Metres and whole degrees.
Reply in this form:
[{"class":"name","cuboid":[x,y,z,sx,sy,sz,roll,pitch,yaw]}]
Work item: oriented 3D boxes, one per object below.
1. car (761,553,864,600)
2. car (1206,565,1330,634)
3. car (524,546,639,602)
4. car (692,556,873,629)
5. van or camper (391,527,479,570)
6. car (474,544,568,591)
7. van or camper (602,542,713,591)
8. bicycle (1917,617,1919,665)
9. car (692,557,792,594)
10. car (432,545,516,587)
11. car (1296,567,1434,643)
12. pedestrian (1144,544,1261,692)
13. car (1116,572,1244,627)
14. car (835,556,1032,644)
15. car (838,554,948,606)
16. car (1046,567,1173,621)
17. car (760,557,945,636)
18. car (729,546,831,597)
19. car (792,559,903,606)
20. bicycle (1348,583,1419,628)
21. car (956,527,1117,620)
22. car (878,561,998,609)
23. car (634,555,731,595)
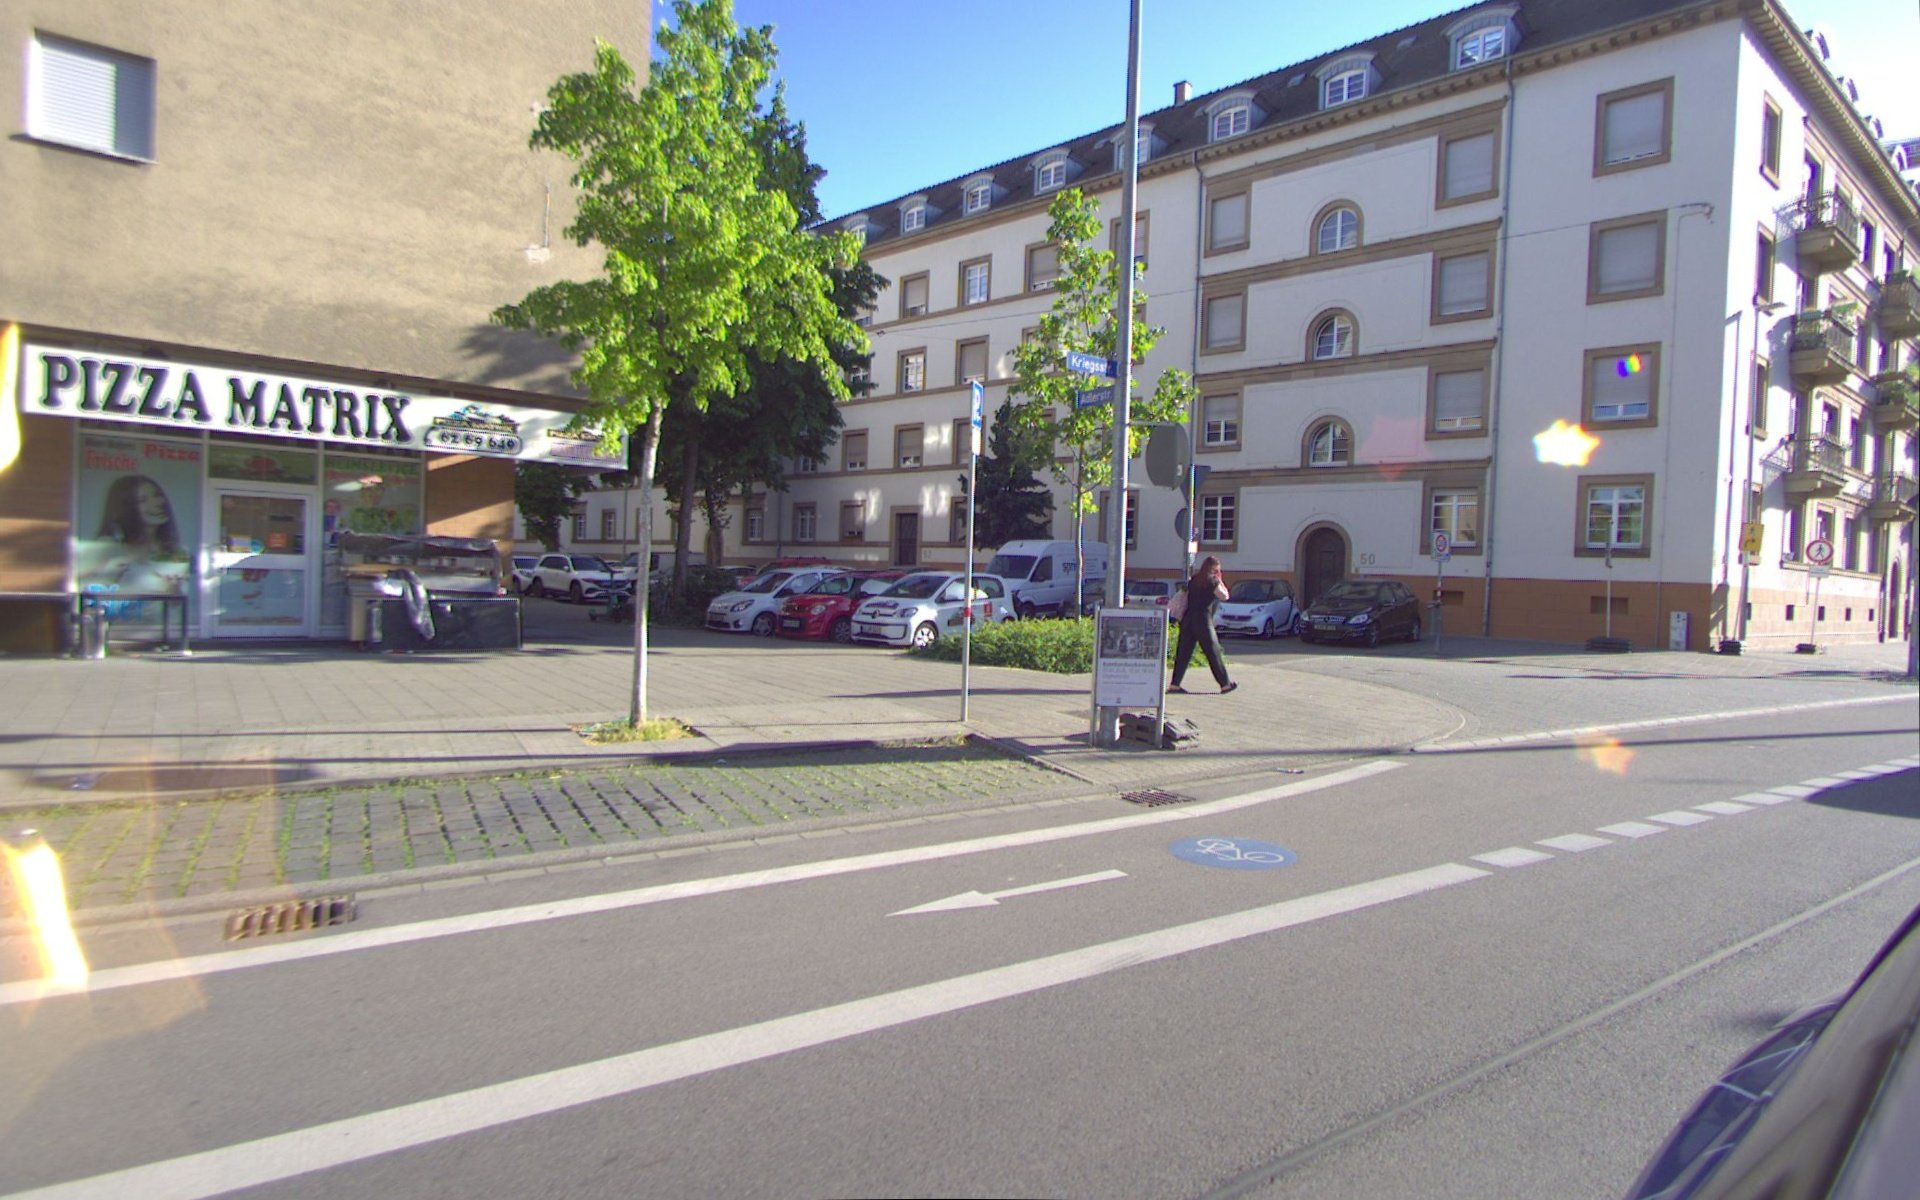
[{"class":"car","cuboid":[-5.783,-0.884,40.050,1.687,1.749,3.943,0,0,39]},{"class":"car","cuboid":[8.346,-0.080,27.173,1.621,1.707,4.377,2,3,39]},{"class":"car","cuboid":[-13.106,-0.932,34.911,4.385,1.719,1.969,4,2,43]},{"class":"car","cuboid":[-3.858,-0.139,22.373,1.633,1.473,3.673,0,0,45]},{"class":"van or camper","cuboid":[-34.581,-3.376,66.792,1.811,2.560,4.818,0,0,39]},{"class":"car","cuboid":[-16.566,-1.180,38.108,3.985,1.661,1.797,1,0,43]},{"class":"van or camper","cuboid":[-14.373,-1.547,48.276,1.814,2.124,4.809,0,0,44]},{"class":"bicycle","cuboid":[20.685,0.864,21.103,2.158,0.965,0.769,1,2,-39]},{"class":"car","cuboid":[-9.320,-1.021,43.430,1.691,1.454,3.935,0,0,44]},{"class":"car","cuboid":[-19.931,-1.367,41.473,3.985,1.609,1.765,1,0,43]},{"class":"car","cuboid":[10.128,0.051,25.151,1.692,1.707,4.370,0,2,44]},{"class":"pedestrian","cuboid":[3.047,0.205,12.795,1.082,1.784,0.889,1,3,-13]},{"class":"car","cuboid":[6.312,-0.045,28.716,1.690,1.447,4.375,1,1,41]},{"class":"car","cuboid":[-0.414,0.014,19.215,1.660,1.493,3.781,1,0,40]},{"class":"car","cuboid":[-2.353,-0.672,36.229,1.539,1.761,3.936,0,0,44]},{"class":"car","cuboid":[4.562,-0.210,30.463,1.691,1.497,4.373,1,1,42]},{"class":"car","cuboid":[-2.129,-0.054,20.703,1.631,1.471,3.600,0,0,42]},{"class":"car","cuboid":[-7.369,-1.133,41.648,1.689,1.961,3.938,0,0,42]},{"class":"car","cuboid":[-4.173,-0.633,37.839,3.934,1.636,1.691,1,0,-45]},{"class":"bicycle","cuboid":[11.970,0.141,28.630,1.801,1.179,0.401,3,3,39]},{"class":"car","cuboid":[2.514,-0.909,31.515,1.921,2.640,5.878,3,4,40]},{"class":"car","cuboid":[-0.705,-0.476,34.391,3.930,1.509,1.693,1,0,-42]},{"class":"car","cuboid":[-12.589,-1.107,46.009,1.735,1.701,3.938,0,0,42]}]
